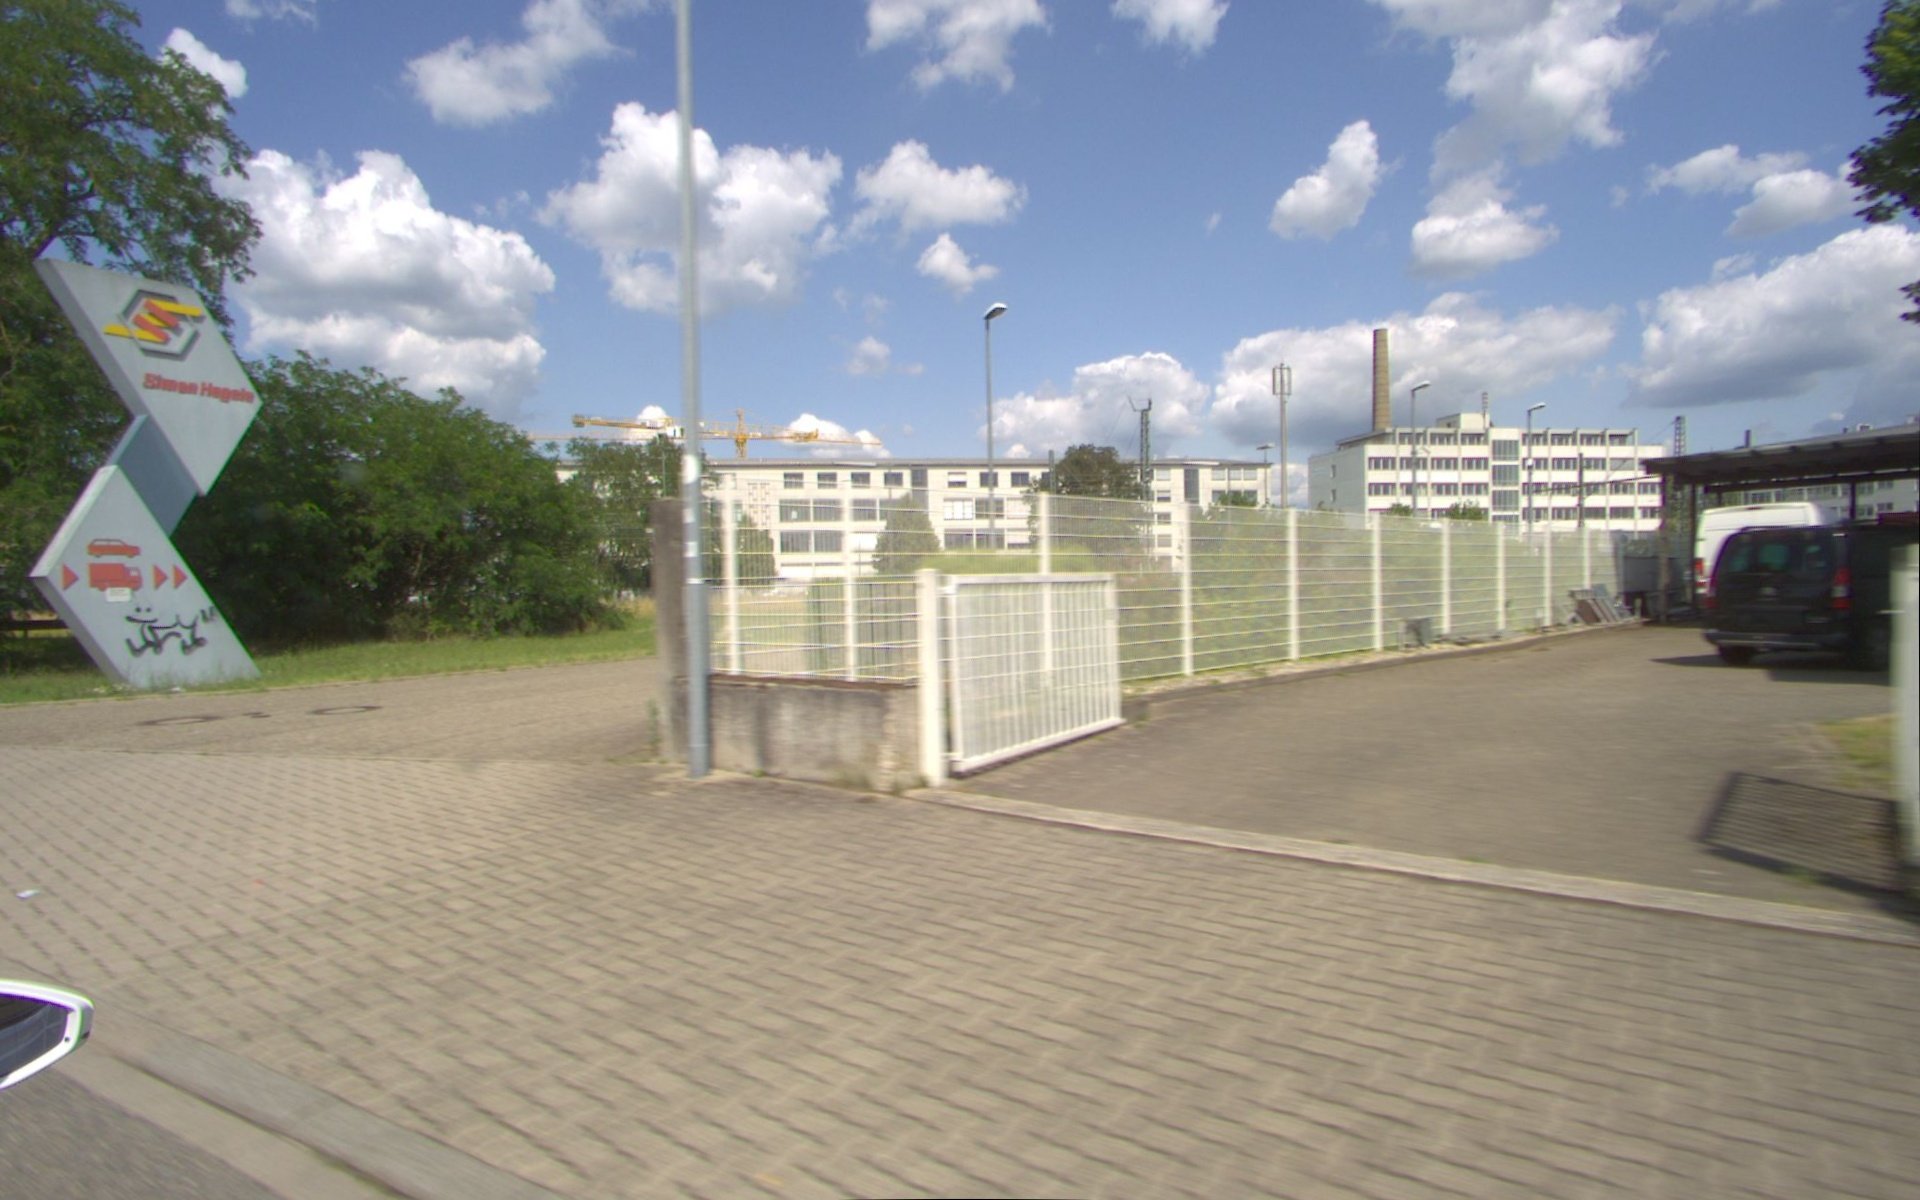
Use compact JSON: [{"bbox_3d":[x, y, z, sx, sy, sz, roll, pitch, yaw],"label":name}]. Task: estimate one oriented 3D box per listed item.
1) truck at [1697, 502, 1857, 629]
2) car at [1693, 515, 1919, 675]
[{"bbox_3d":[17.727,-0.750,21.660,4.692,2.458,1.982,-3,2,-42],"label":"truck"},{"bbox_3d":[11.904,-0.125,13.172,3.931,1.857,1.798,-2,2,-20],"label":"car"}]
